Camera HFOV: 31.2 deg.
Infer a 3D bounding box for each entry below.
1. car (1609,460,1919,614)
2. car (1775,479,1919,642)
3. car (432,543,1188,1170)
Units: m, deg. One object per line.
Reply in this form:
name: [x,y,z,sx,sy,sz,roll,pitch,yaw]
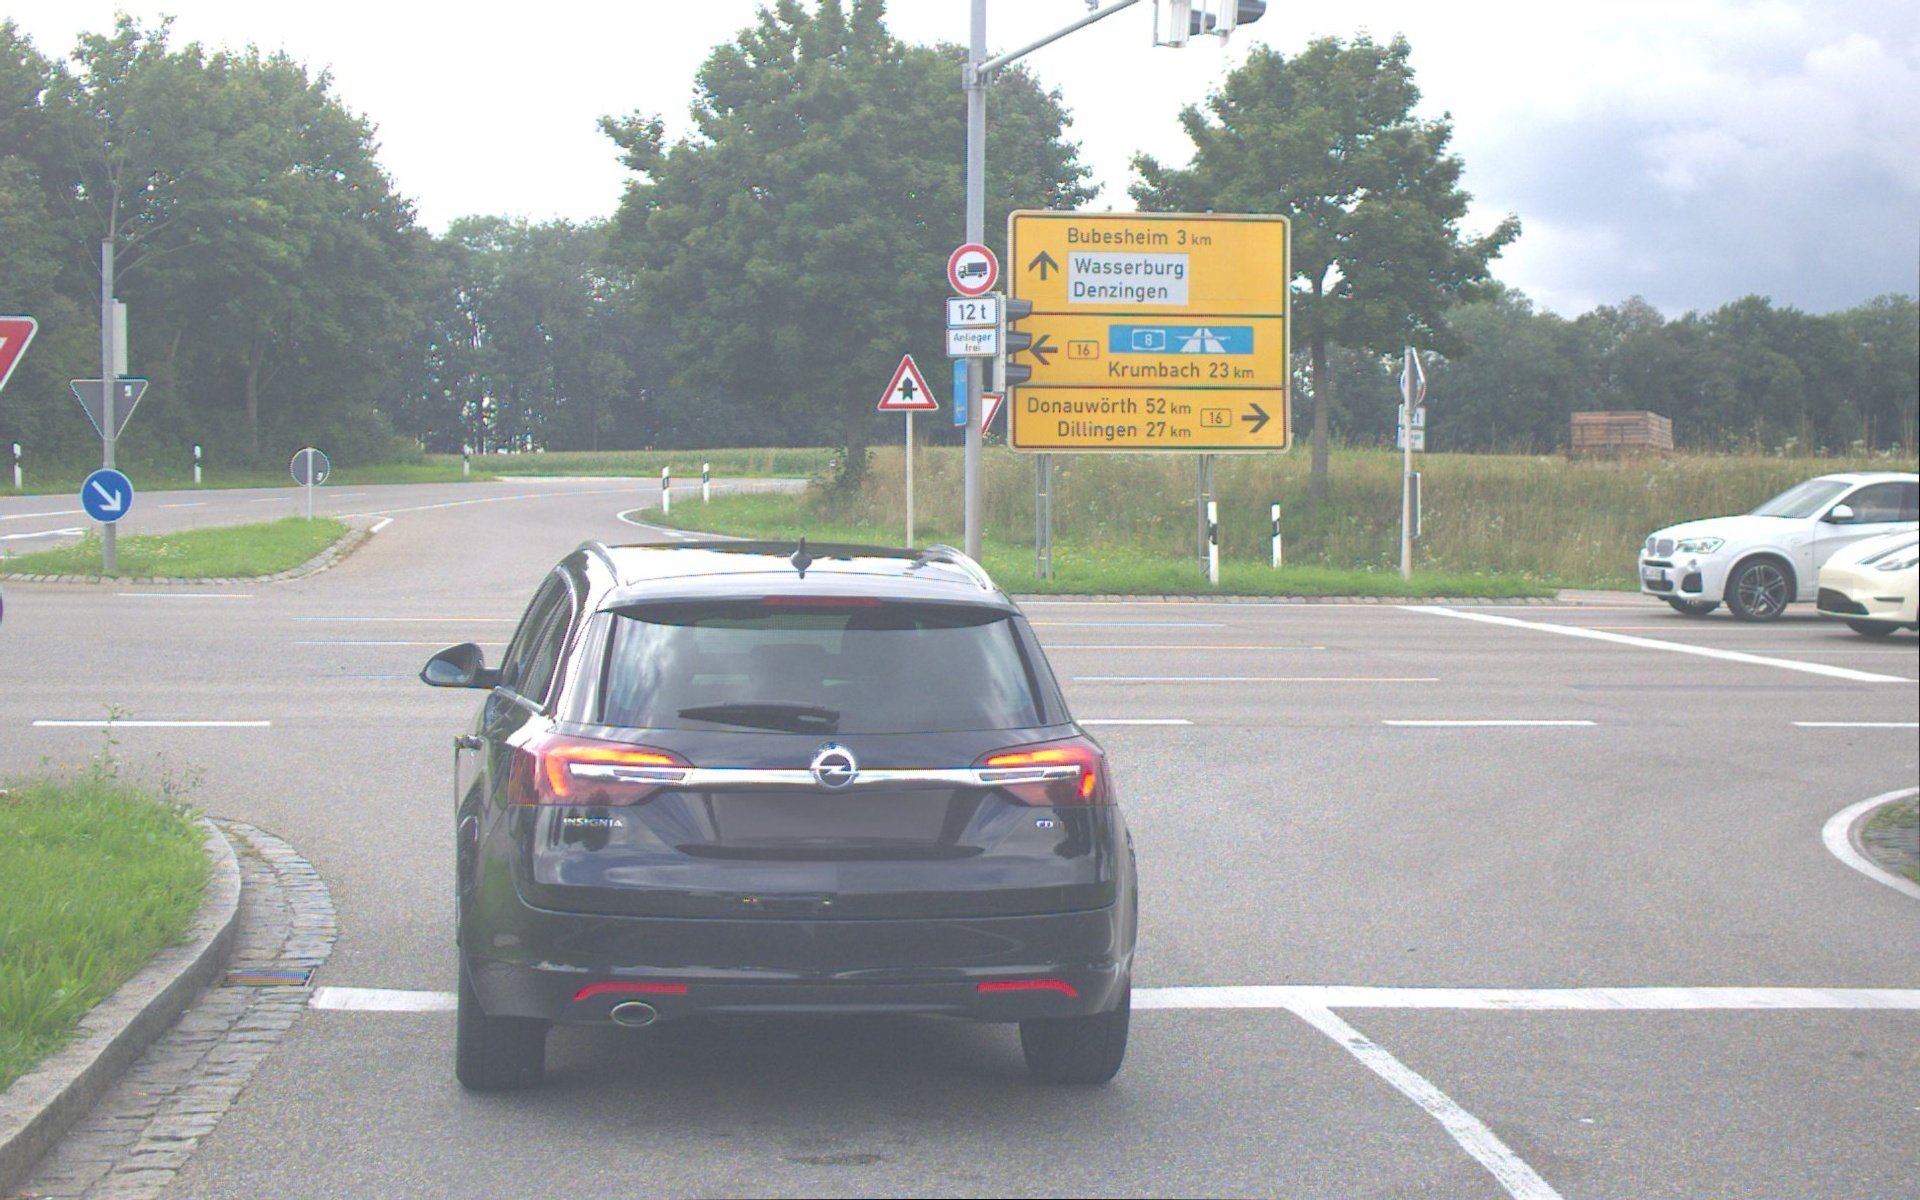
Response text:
car: [9.612,-0.694,38.190,4.259,1.623,2.001,0,1,-13]
car: [10.818,-0.390,34.443,4.731,1.559,2.001,0,1,-12]
car: [-0.656,0.582,10.382,1.807,1.446,4.274,1,1,-8]
